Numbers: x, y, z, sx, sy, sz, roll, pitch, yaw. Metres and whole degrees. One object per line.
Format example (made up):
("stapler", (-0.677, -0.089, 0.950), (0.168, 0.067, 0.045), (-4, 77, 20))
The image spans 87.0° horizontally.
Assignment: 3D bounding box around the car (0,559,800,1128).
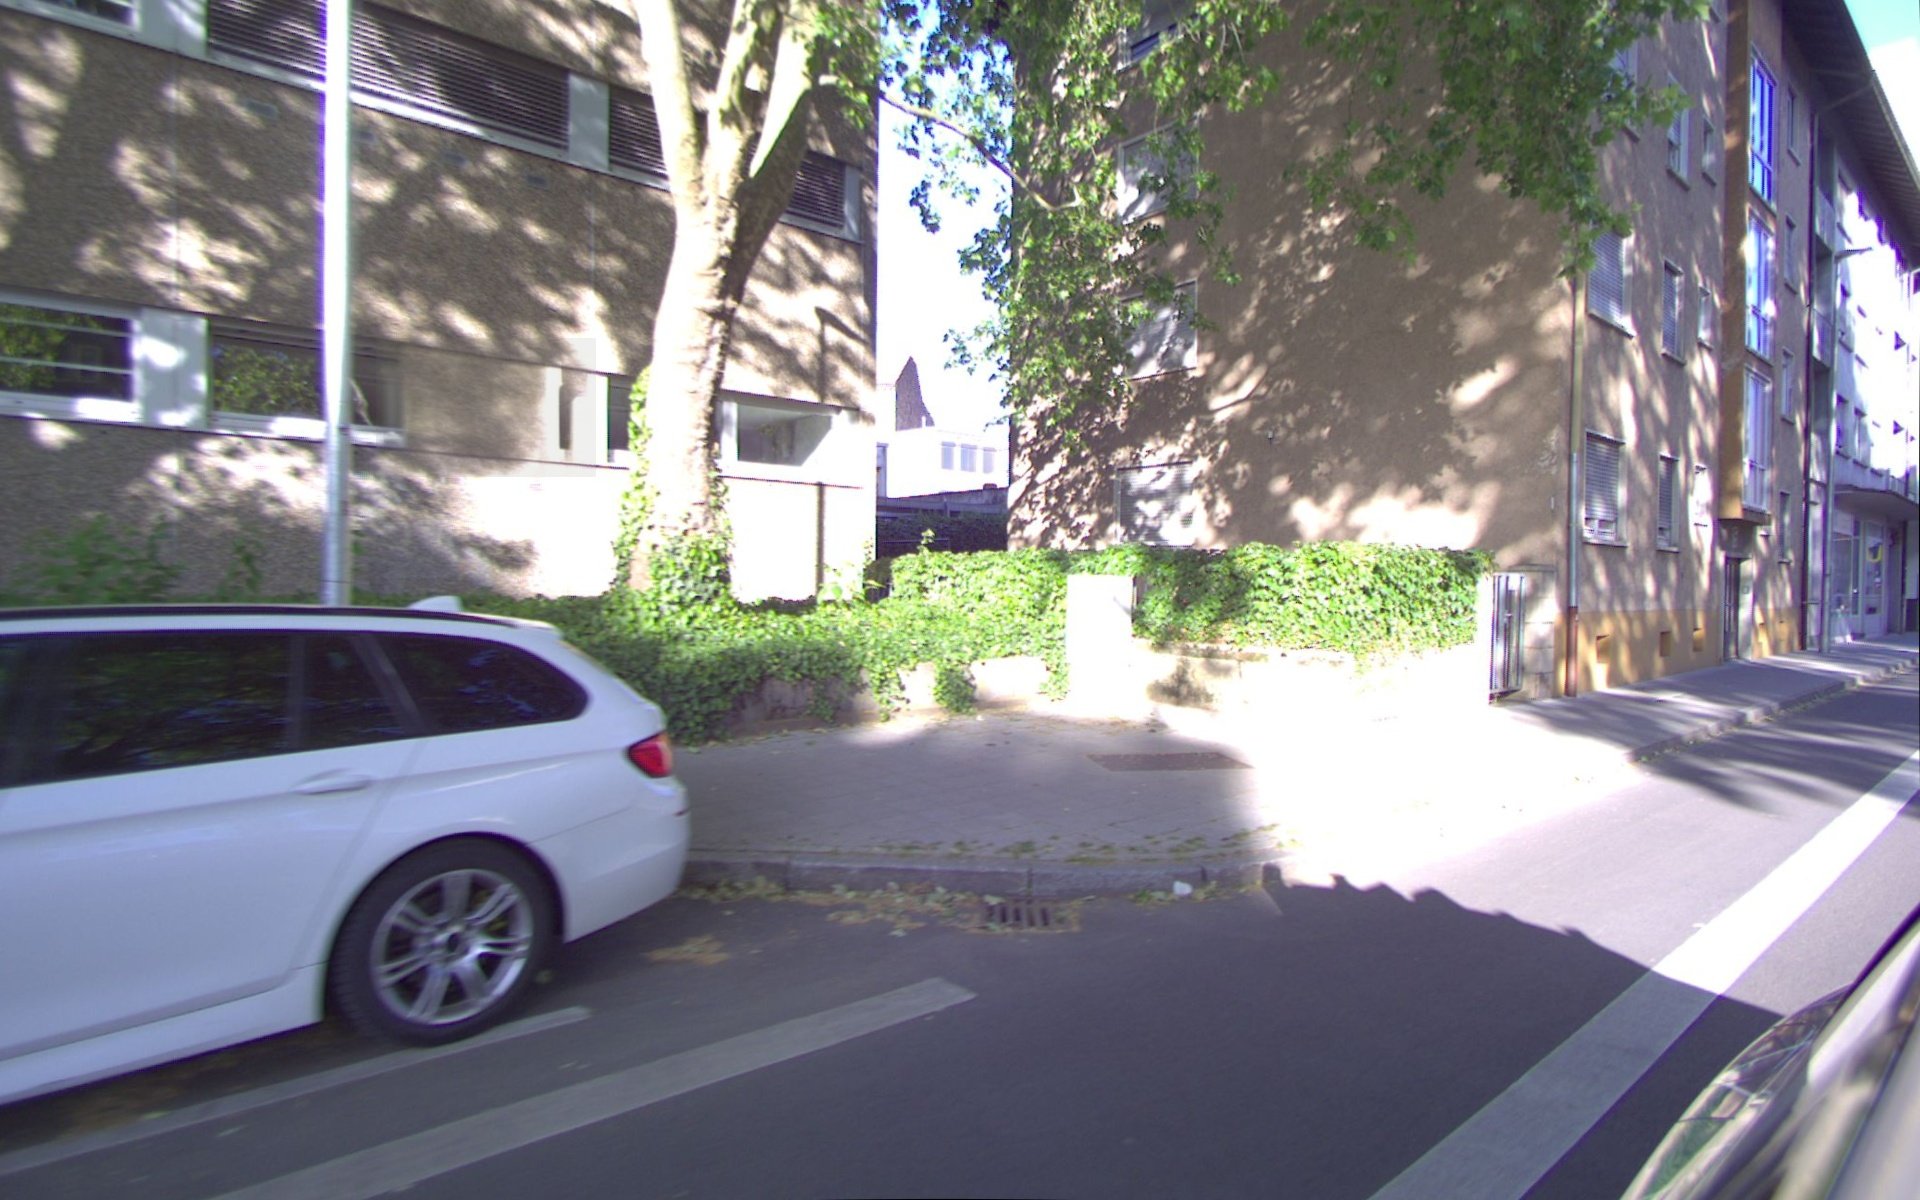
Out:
("car", (-3.071, 0.615, 3.285), (4.888, 1.454, 1.856), (-1, 1, -44))
